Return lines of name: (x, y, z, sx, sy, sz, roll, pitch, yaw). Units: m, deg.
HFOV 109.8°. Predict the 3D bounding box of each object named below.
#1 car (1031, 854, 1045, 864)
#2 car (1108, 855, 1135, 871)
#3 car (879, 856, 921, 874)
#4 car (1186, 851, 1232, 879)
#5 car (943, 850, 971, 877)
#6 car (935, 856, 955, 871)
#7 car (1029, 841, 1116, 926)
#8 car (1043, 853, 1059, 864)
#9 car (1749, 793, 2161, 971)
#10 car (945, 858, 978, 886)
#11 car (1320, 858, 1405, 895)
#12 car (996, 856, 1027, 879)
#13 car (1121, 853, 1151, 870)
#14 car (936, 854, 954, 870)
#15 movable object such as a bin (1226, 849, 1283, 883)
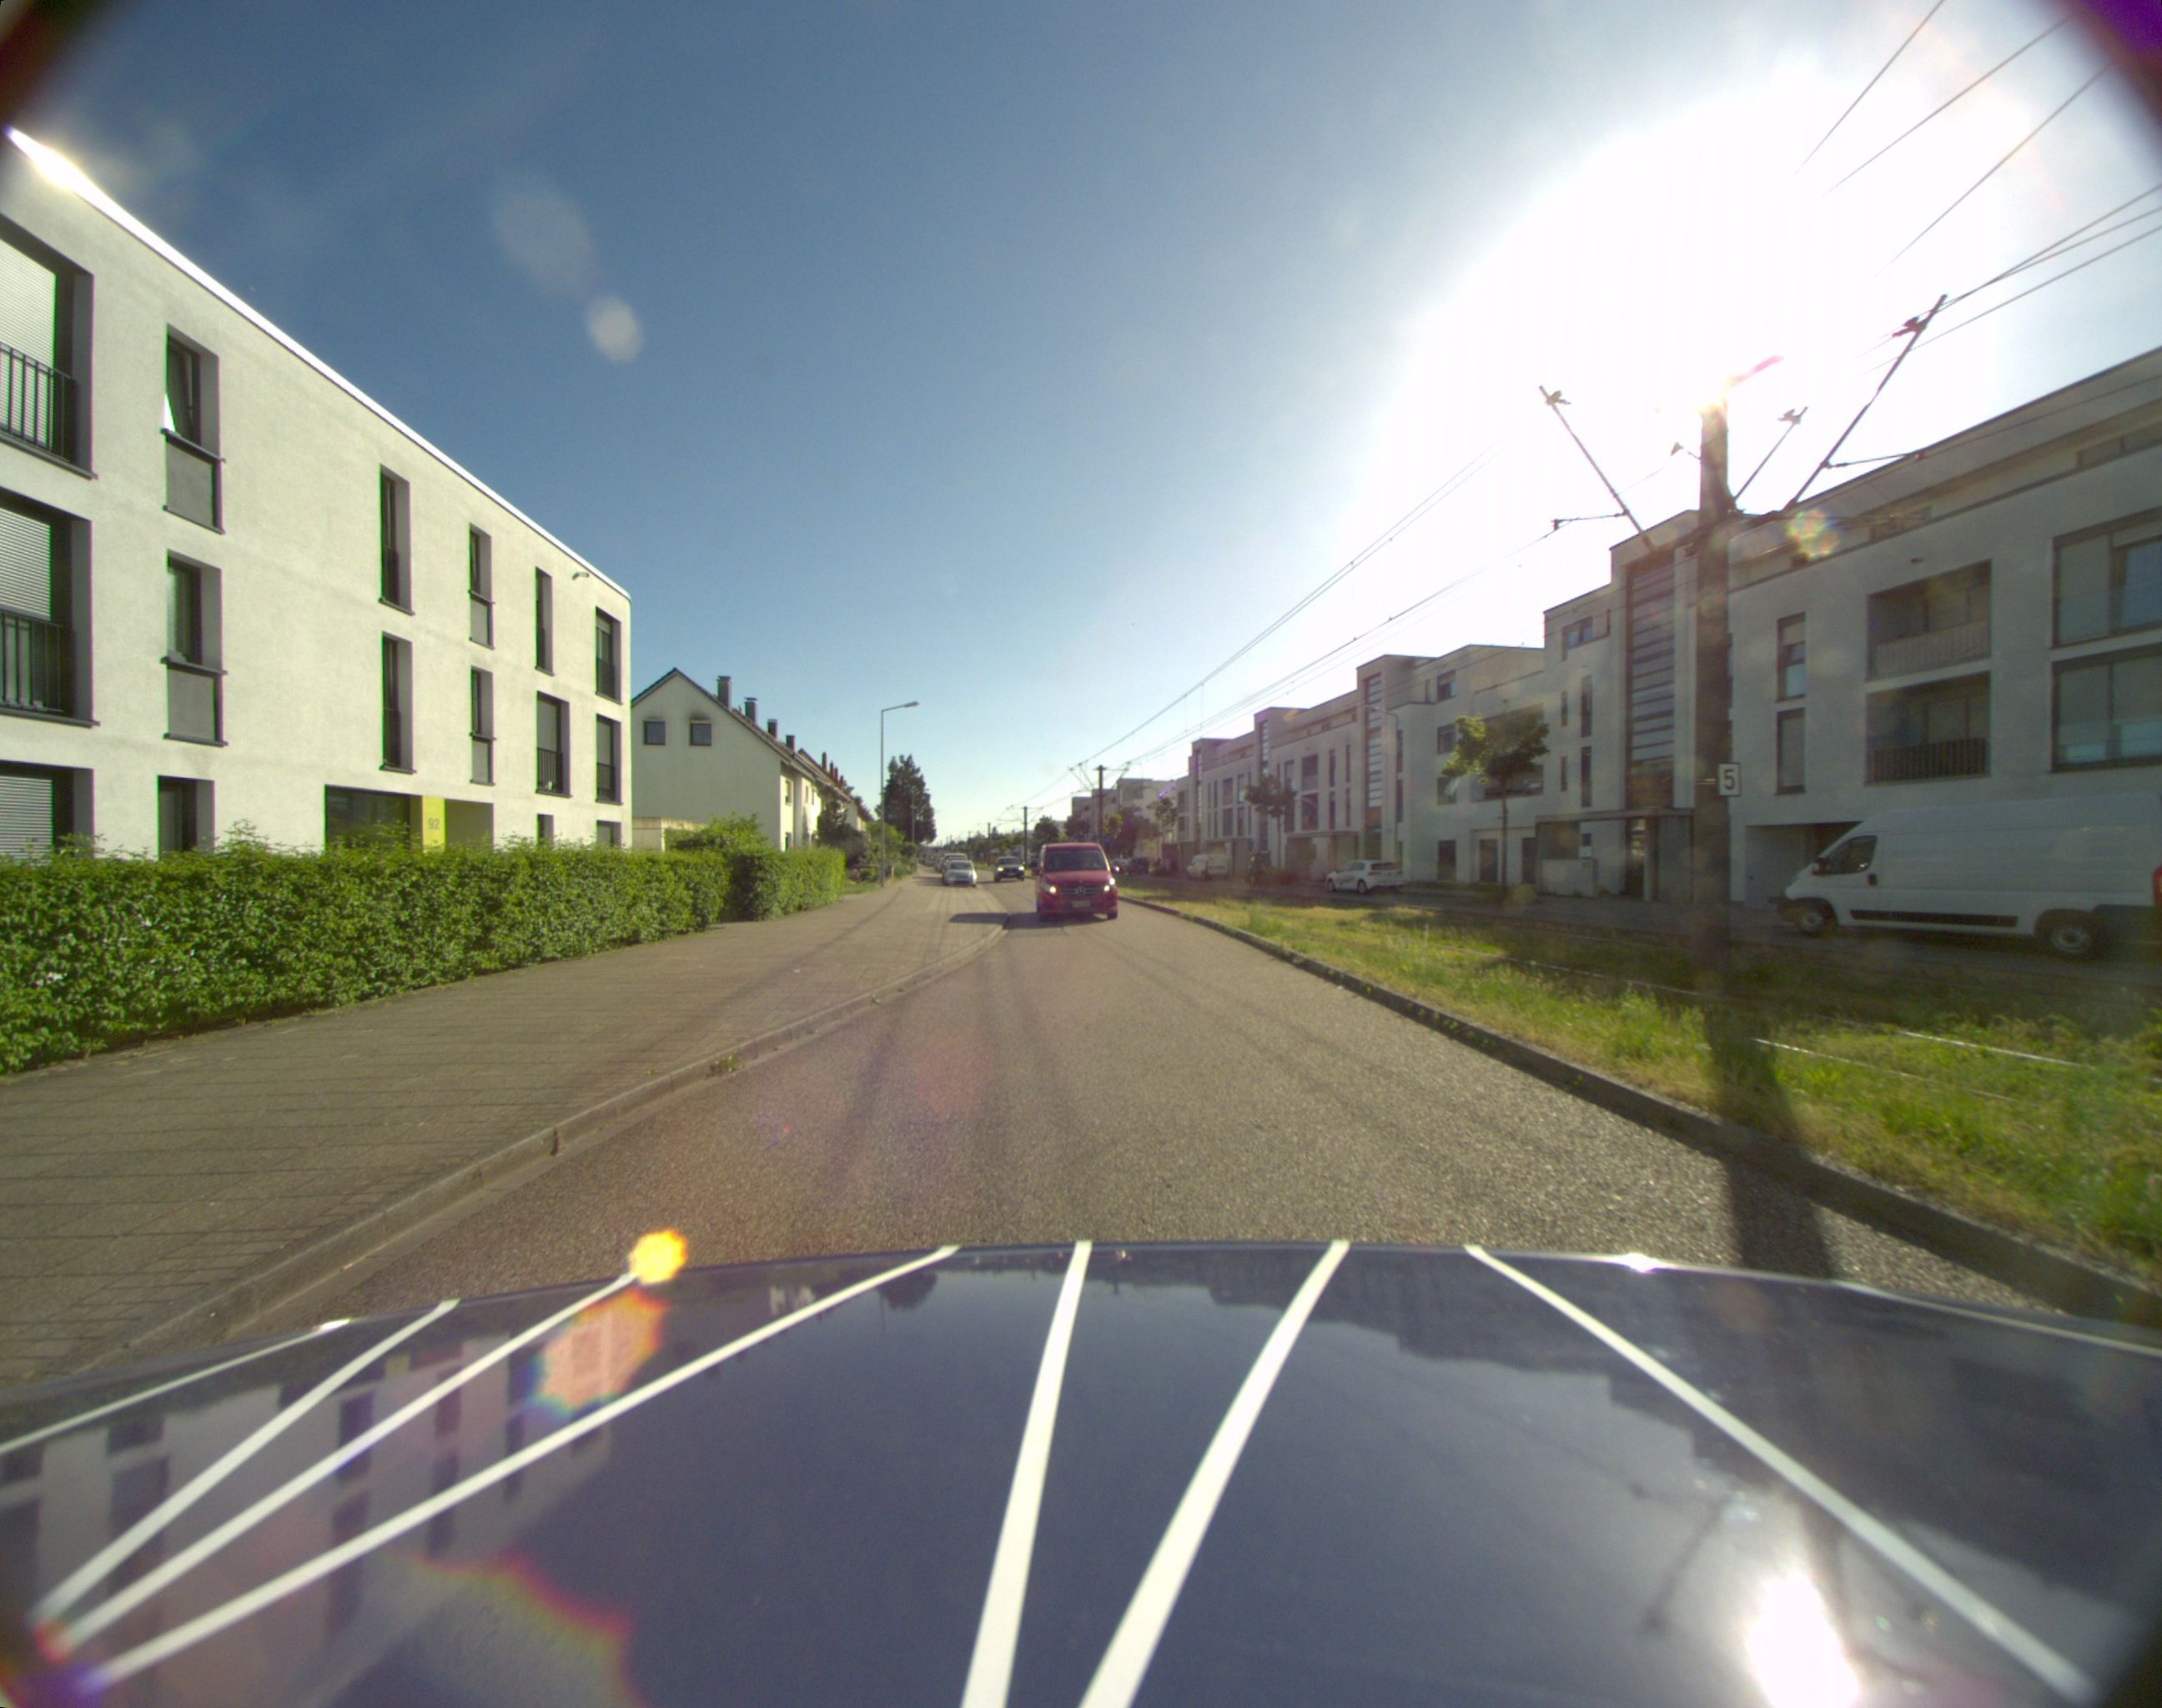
car: (-7.526, 0.895, 132.942, 1.767, 1.590, 4.153, -2, 0, -11)
car: (4.142, 0.928, 78.514, 1.767, 1.590, 4.153, -2, 0, -11)
car: (-19.069, 1.134, 80.303, 3.999, 1.674, 1.999, -2, 1, -5)
car: (8.958, 0.732, 53.609, 1.767, 1.859, 4.153, -2, 0, -11)
car: (-9.385, 0.723, 57.673, 1.894, 1.951, 4.010, 1, 0, -8)
car: (-13.416, 0.912, 75.109, 1.701, 1.466, 4.010, 1, 0, -8)
car: (-0.287, 0.688, 20.589, 1.980, 1.922, 5.203, -3, 0, -2)
car: (-4.644, 0.747, 117.568, 1.767, 1.590, 4.153, -2, 0, -11)
car: (15.433, 0.347, 13.247, 2.147, 2.430, 5.585, -2, 0, -9)
car: (-6.647, 0.967, 42.510, 1.701, 1.466, 4.010, 1, 0, -8)
car: (12.315, 0.940, 33.496, 1.522, 1.424, 4.153, -2, 0, -11)
car: (-4.691, 0.881, 51.049, 1.894, 1.506, 3.751, 1, 0, -8)
car: (5.223, 0.695, 72.972, 1.767, 1.590, 4.153, -2, 0, -11)
car: (-14.677, 0.834, 81.851, 1.701, 1.604, 4.010, 1, 0, -8)
movable object such as a bin: (10.358, 0.692, 45.686, 1.767, 1.926, 4.153, -2, 0, -11)
